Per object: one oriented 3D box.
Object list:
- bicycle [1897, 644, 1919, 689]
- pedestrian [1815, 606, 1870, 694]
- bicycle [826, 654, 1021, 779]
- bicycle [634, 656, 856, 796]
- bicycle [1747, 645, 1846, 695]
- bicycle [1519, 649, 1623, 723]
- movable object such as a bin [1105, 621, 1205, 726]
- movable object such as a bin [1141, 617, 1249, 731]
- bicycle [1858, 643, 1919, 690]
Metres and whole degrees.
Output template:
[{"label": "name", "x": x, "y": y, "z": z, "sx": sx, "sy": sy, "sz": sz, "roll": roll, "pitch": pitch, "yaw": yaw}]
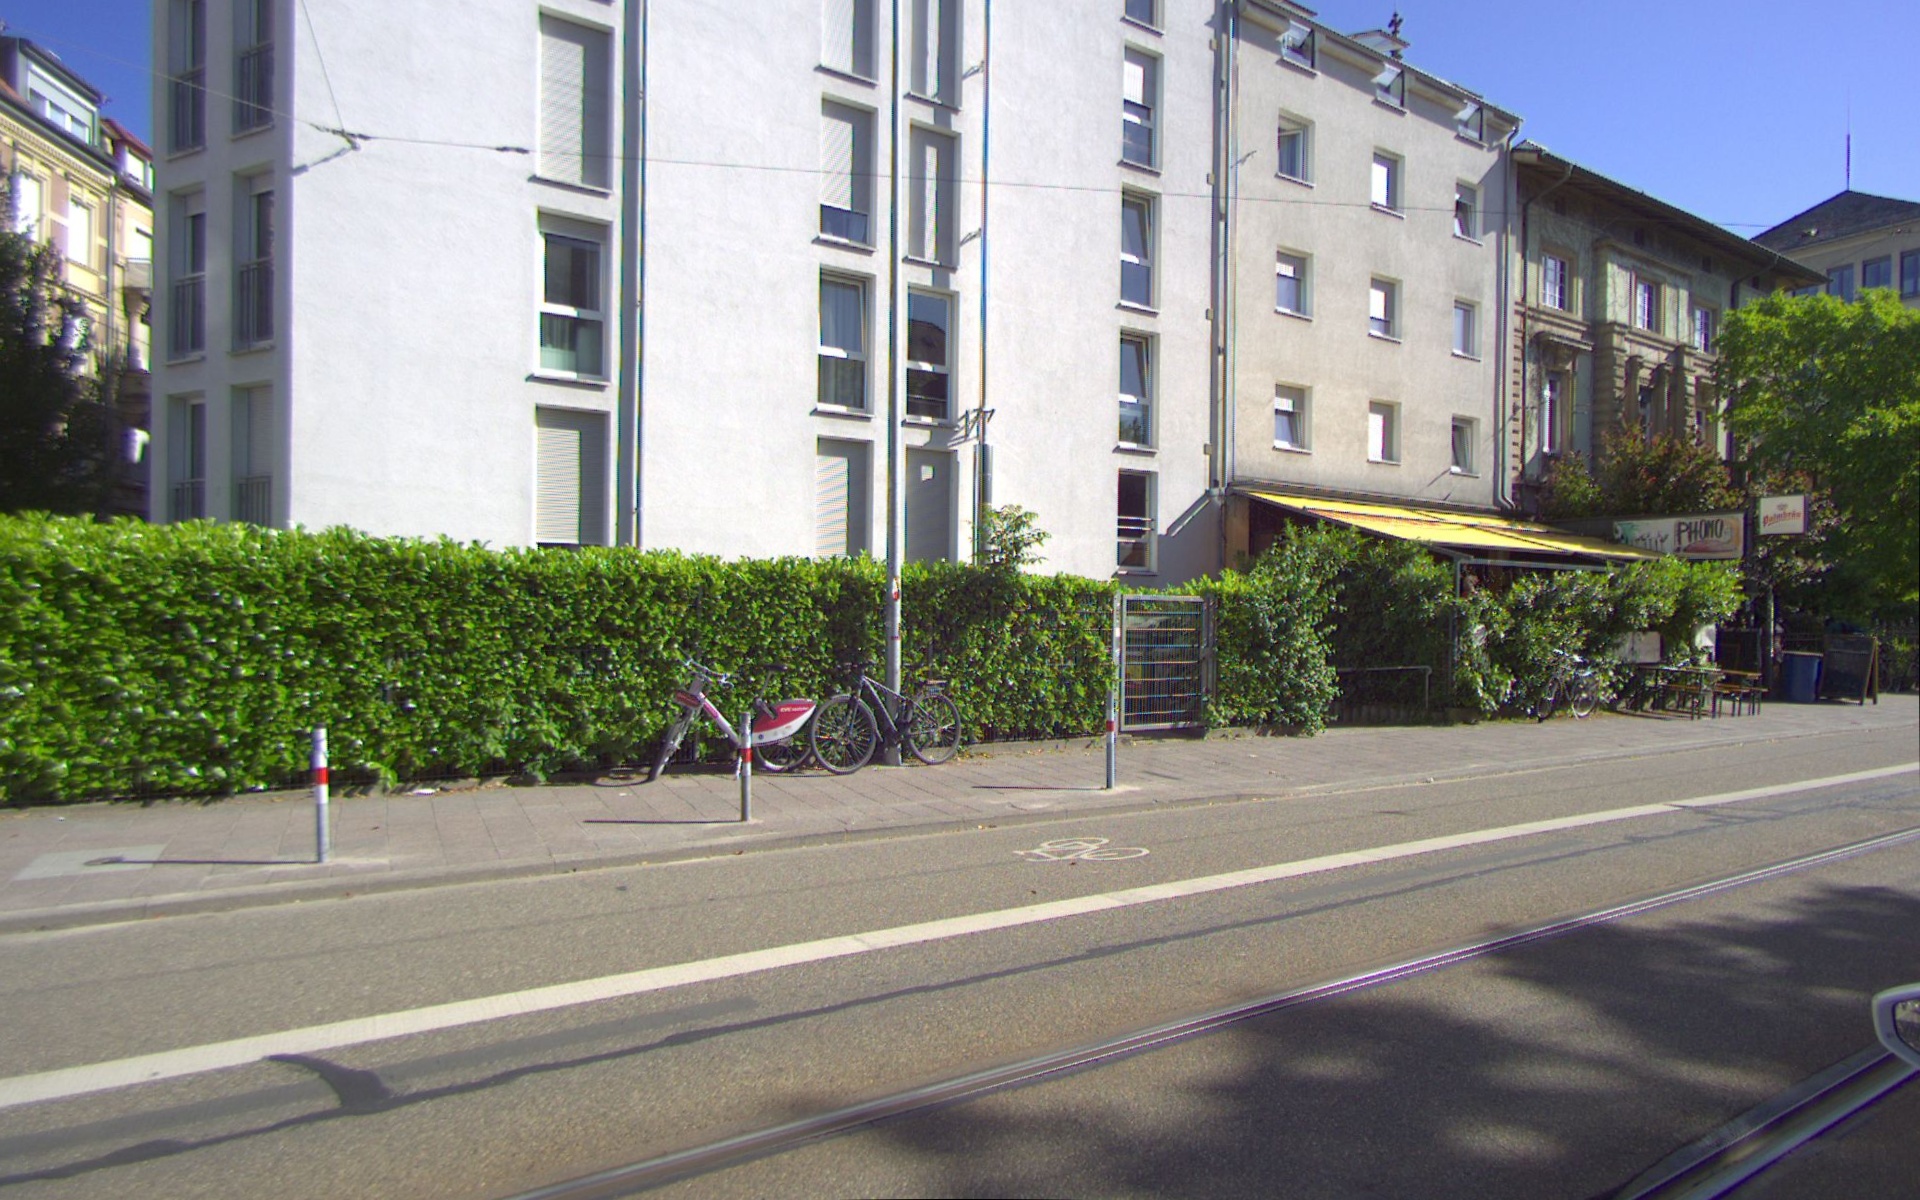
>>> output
[{"label": "bicycle", "x": 24.029, "y": 1.634, "z": 24.885, "sx": 1.880, "sy": 1.059, "sz": 0.587, "roll": 1, "pitch": 1, "yaw": -28}, {"label": "pedestrian", "x": 18.837, "y": 1.051, "z": 21.440, "sx": 0.677, "sy": 1.856, "sz": 0.576, "roll": 1, "pitch": 0, "yaw": -11}, {"label": "bicycle", "x": -0.352, "y": 1.125, "z": 10.056, "sx": 1.819, "sy": 1.104, "sz": 0.658, "roll": 2, "pitch": 2, "yaw": -30}, {"label": "bicycle", "x": -1.929, "y": 1.090, "z": 9.091, "sx": 1.819, "sy": 1.104, "sz": 0.658, "roll": 2, "pitch": 2, "yaw": -30}, {"label": "bicycle", "x": 18.472, "y": 1.530, "z": 22.183, "sx": 1.987, "sy": 1.059, "sz": 0.637, "roll": 1, "pitch": 0, "yaw": -14}, {"label": "bicycle", "x": 9.786, "y": 1.349, "z": 16.066, "sx": 1.722, "sy": 1.073, "sz": 0.635, "roll": 1, "pitch": 2, "yaw": -30}, {"label": "movable object such as a bin", "x": 2.853, "y": 1.043, "z": 14.716, "sx": 1.245, "sy": 1.476, "sz": 0.802, "roll": 1, "pitch": -1, "yaw": -35}, {"label": "movable object such as a bin", "x": 3.210, "y": 0.977, "z": 13.742, "sx": 1.244, "sy": 1.476, "sz": 0.802, "roll": 1, "pitch": -1, "yaw": -32}, {"label": "bicycle", "x": 22.318, "y": 1.583, "z": 23.957, "sx": 1.877, "sy": 1.059, "sz": 0.588, "roll": 1, "pitch": 1, "yaw": -23}]
